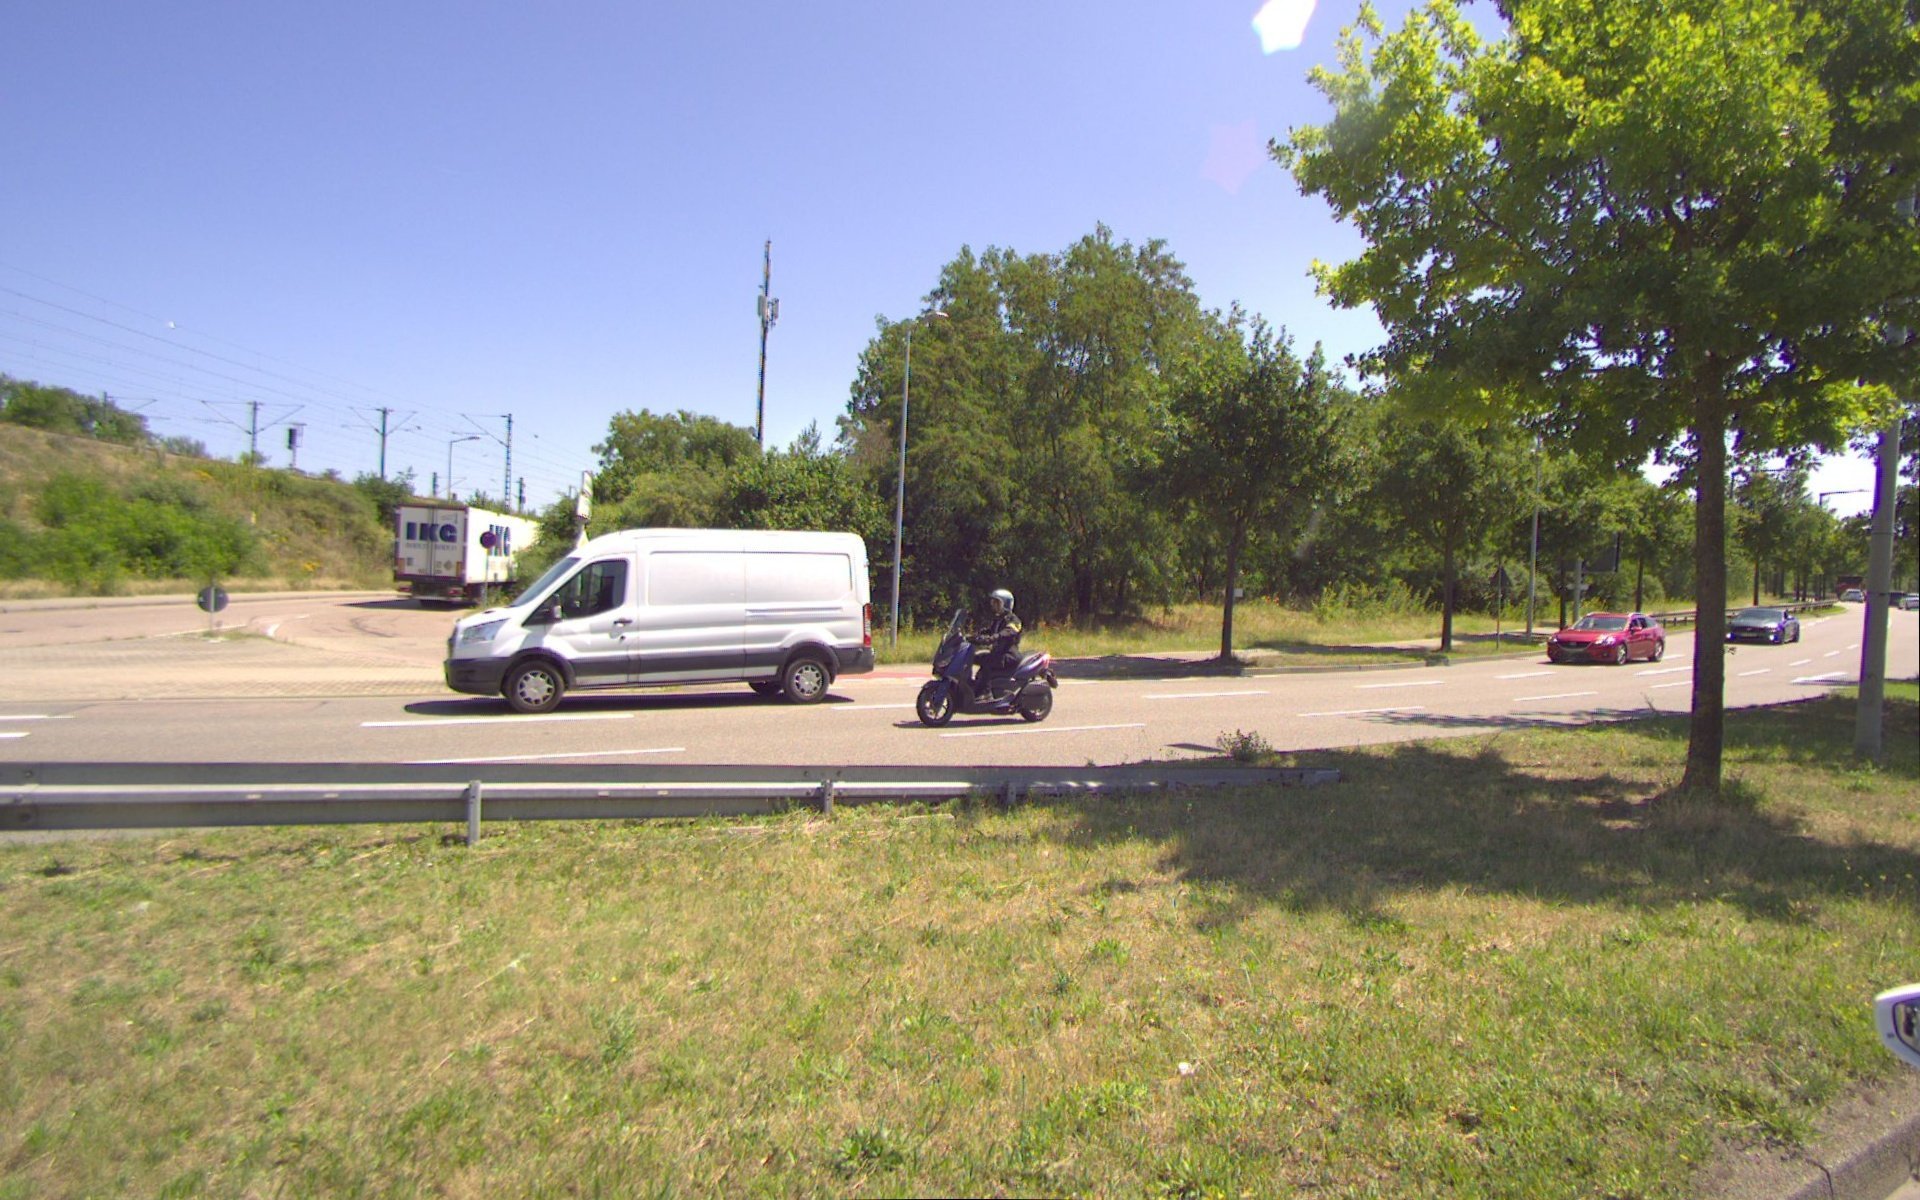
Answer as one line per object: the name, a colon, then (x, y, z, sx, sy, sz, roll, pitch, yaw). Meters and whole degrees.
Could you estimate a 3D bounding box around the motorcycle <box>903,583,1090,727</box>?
motorcycle: (0.499, 0.685, 12.725, 2.398, 1.700, 0.594, 2, 0, -31)

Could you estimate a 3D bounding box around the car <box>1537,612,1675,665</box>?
car: (19.169, 1.143, 29.761, 4.478, 1.456, 1.820, 2, -2, -33)

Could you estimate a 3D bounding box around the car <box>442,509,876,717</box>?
car: (-4.256, 0.148, 14.593, 5.740, 2.534, 2.084, 0, 0, -30)

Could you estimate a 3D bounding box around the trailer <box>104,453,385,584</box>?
trailer: (-26.875, -2.728, 38.990, 2.964, 4.104, 12.692, 0, 0, -6)

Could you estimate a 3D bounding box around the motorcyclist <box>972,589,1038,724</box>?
motorcyclist: (0.569, 0.702, 12.752, 0.556, 1.648, 0.584, 2, 0, -32)

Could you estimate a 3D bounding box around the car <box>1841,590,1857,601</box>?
car: (101.857, -0.468, 115.040, 1.306, 1.154, 2.980, 2, 0, 41)

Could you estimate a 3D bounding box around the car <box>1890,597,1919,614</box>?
car: (80.962, 0.457, 86.022, 1.438, 1.331, 3.625, 2, 0, 36)

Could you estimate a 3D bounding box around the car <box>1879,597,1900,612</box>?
car: (88.659, 0.423, 95.811, 1.402, 1.331, 3.319, 2, 0, 42)

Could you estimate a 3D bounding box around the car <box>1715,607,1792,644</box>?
car: (32.047, 1.027, 40.513, 4.537, 1.351, 1.792, 2, 0, -43)
